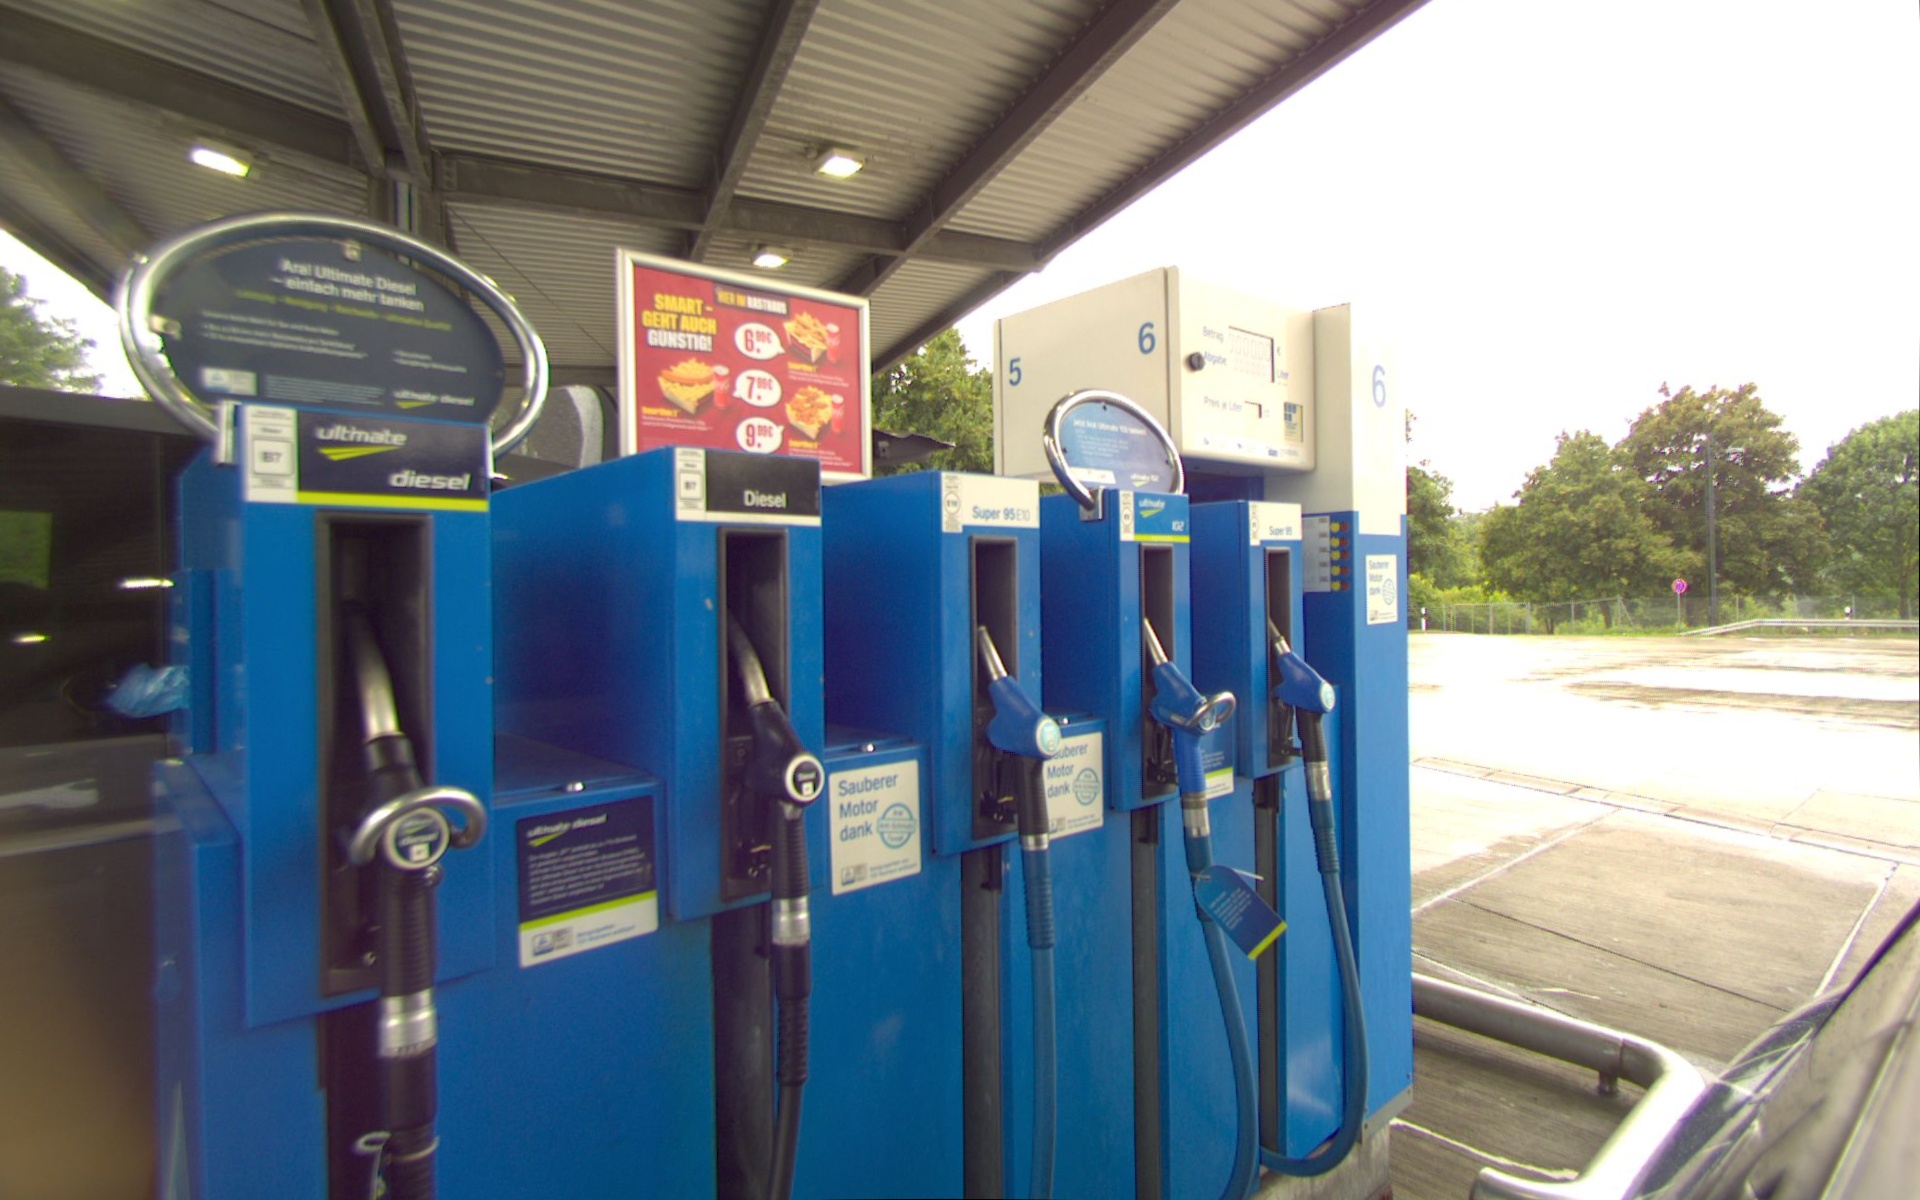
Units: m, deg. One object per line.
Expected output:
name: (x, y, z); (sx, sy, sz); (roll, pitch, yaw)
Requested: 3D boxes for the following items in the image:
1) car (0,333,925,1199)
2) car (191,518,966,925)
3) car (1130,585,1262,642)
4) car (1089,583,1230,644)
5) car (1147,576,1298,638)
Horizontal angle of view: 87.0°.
car: (-2.604, 0.502, 1.817); (5.050, 1.821, 1.864); (-1, 0, -41)
car: (-2.241, 0.517, 6.703); (4.460, 1.821, 1.864); (-1, 0, -41)
car: (7.419, 0.384, 31.921); (3.941, 1.680, 1.593); (1, 0, 14)
car: (5.865, 0.372, 29.730); (3.941, 1.680, 1.593); (1, 0, 14)
car: (8.881, 0.205, 34.504); (4.817, 1.974, 2.306); (1, 1, 14)
